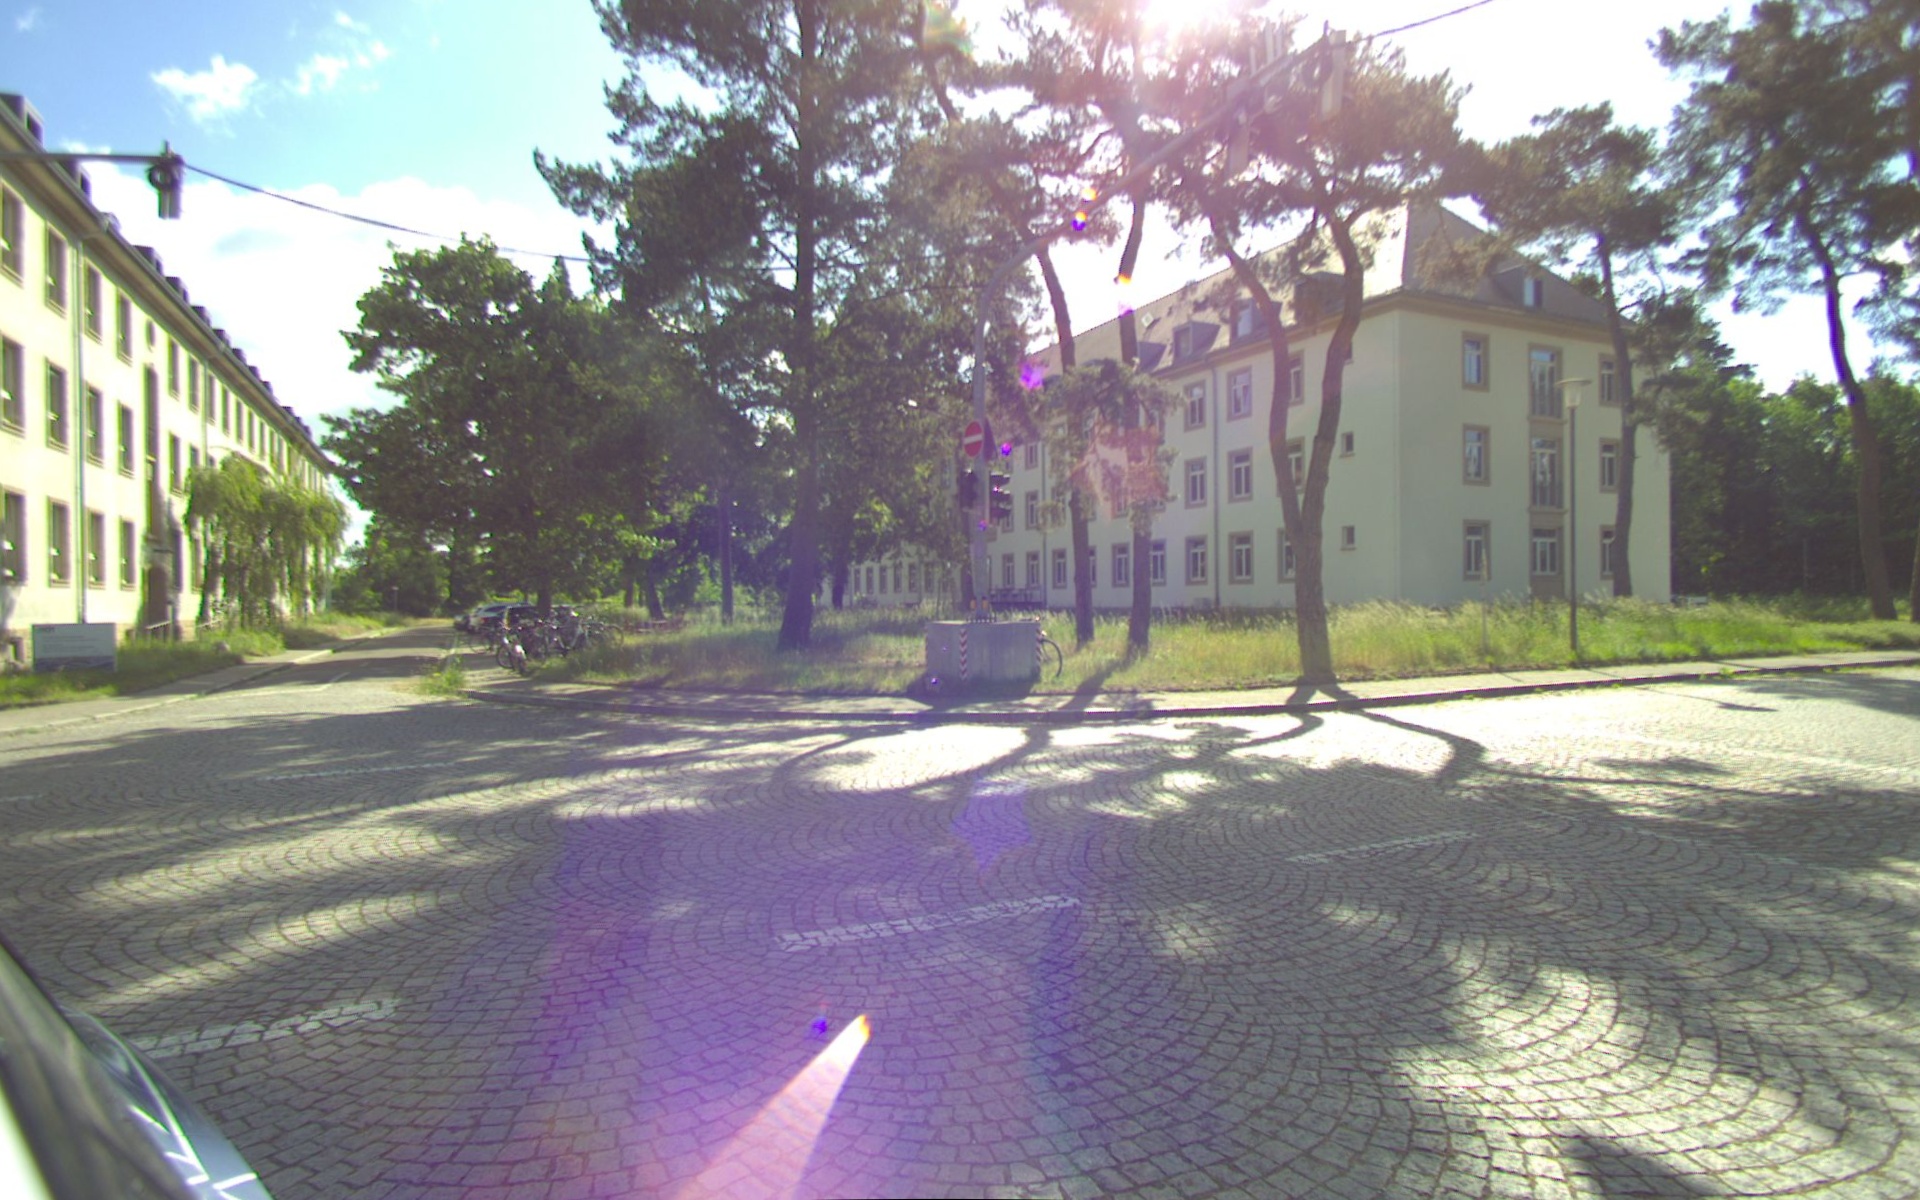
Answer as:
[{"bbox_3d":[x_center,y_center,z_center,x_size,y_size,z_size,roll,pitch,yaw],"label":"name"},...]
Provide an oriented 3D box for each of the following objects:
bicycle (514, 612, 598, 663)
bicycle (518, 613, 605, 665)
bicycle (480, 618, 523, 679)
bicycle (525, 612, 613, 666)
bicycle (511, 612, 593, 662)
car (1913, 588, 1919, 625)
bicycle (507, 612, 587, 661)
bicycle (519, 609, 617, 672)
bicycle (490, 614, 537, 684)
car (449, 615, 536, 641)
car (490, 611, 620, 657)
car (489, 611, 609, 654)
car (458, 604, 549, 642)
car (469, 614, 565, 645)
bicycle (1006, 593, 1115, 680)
[{"bbox_3d":[-11.364,1.048,28.505,2.079,1.293,0.623,-3,1,-31],"label":"bicycle"},{"bbox_3d":[-10.925,1.043,27.777,2.079,1.293,0.623,-3,1,-32],"label":"bicycle"},{"bbox_3d":[-10.536,1.076,23.217,0.611,1.293,2.121,-3,1,-31],"label":"bicycle"},{"bbox_3d":[-10.452,1.026,27.084,2.079,1.293,0.623,-3,1,-33],"label":"bicycle"},{"bbox_3d":[-11.812,1.055,29.295,2.079,1.293,0.623,-3,1,-31],"label":"bicycle"},{"bbox_3d":[43.152,0.271,43.534,4.037,1.592,1.726,0,0,-24],"label":"car"},{"bbox_3d":[-12.244,1.069,30.025,2.079,1.293,0.623,-3,1,-31],"label":"bicycle"},{"bbox_3d":[-9.649,0.979,24.962,2.079,1.293,0.623,-7,3,-29],"label":"bicycle"},{"bbox_3d":[-9.428,0.995,21.331,0.611,1.360,2.121,-3,1,-31],"label":"bicycle"},{"bbox_3d":[-26.054,1.528,56.422,4.157,1.311,1.822,0,0,-36],"label":"car"},{"bbox_3d":[-14.345,1.161,35.878,3.977,1.513,1.823,0,0,-34],"label":"car"},{"bbox_3d":[-15.660,1.211,38.613,3.977,1.534,1.823,0,0,-34],"label":"car"},{"bbox_3d":[-24.241,1.169,53.797,4.157,1.928,1.822,0,0,-36],"label":"car"},{"bbox_3d":[-21.391,1.401,48.903,3.977,1.374,1.823,0,0,-33],"label":"car"},{"bbox_3d":[1.588,0.571,16.456,0.611,1.293,2.121,-4,1,-28],"label":"bicycle"}]
